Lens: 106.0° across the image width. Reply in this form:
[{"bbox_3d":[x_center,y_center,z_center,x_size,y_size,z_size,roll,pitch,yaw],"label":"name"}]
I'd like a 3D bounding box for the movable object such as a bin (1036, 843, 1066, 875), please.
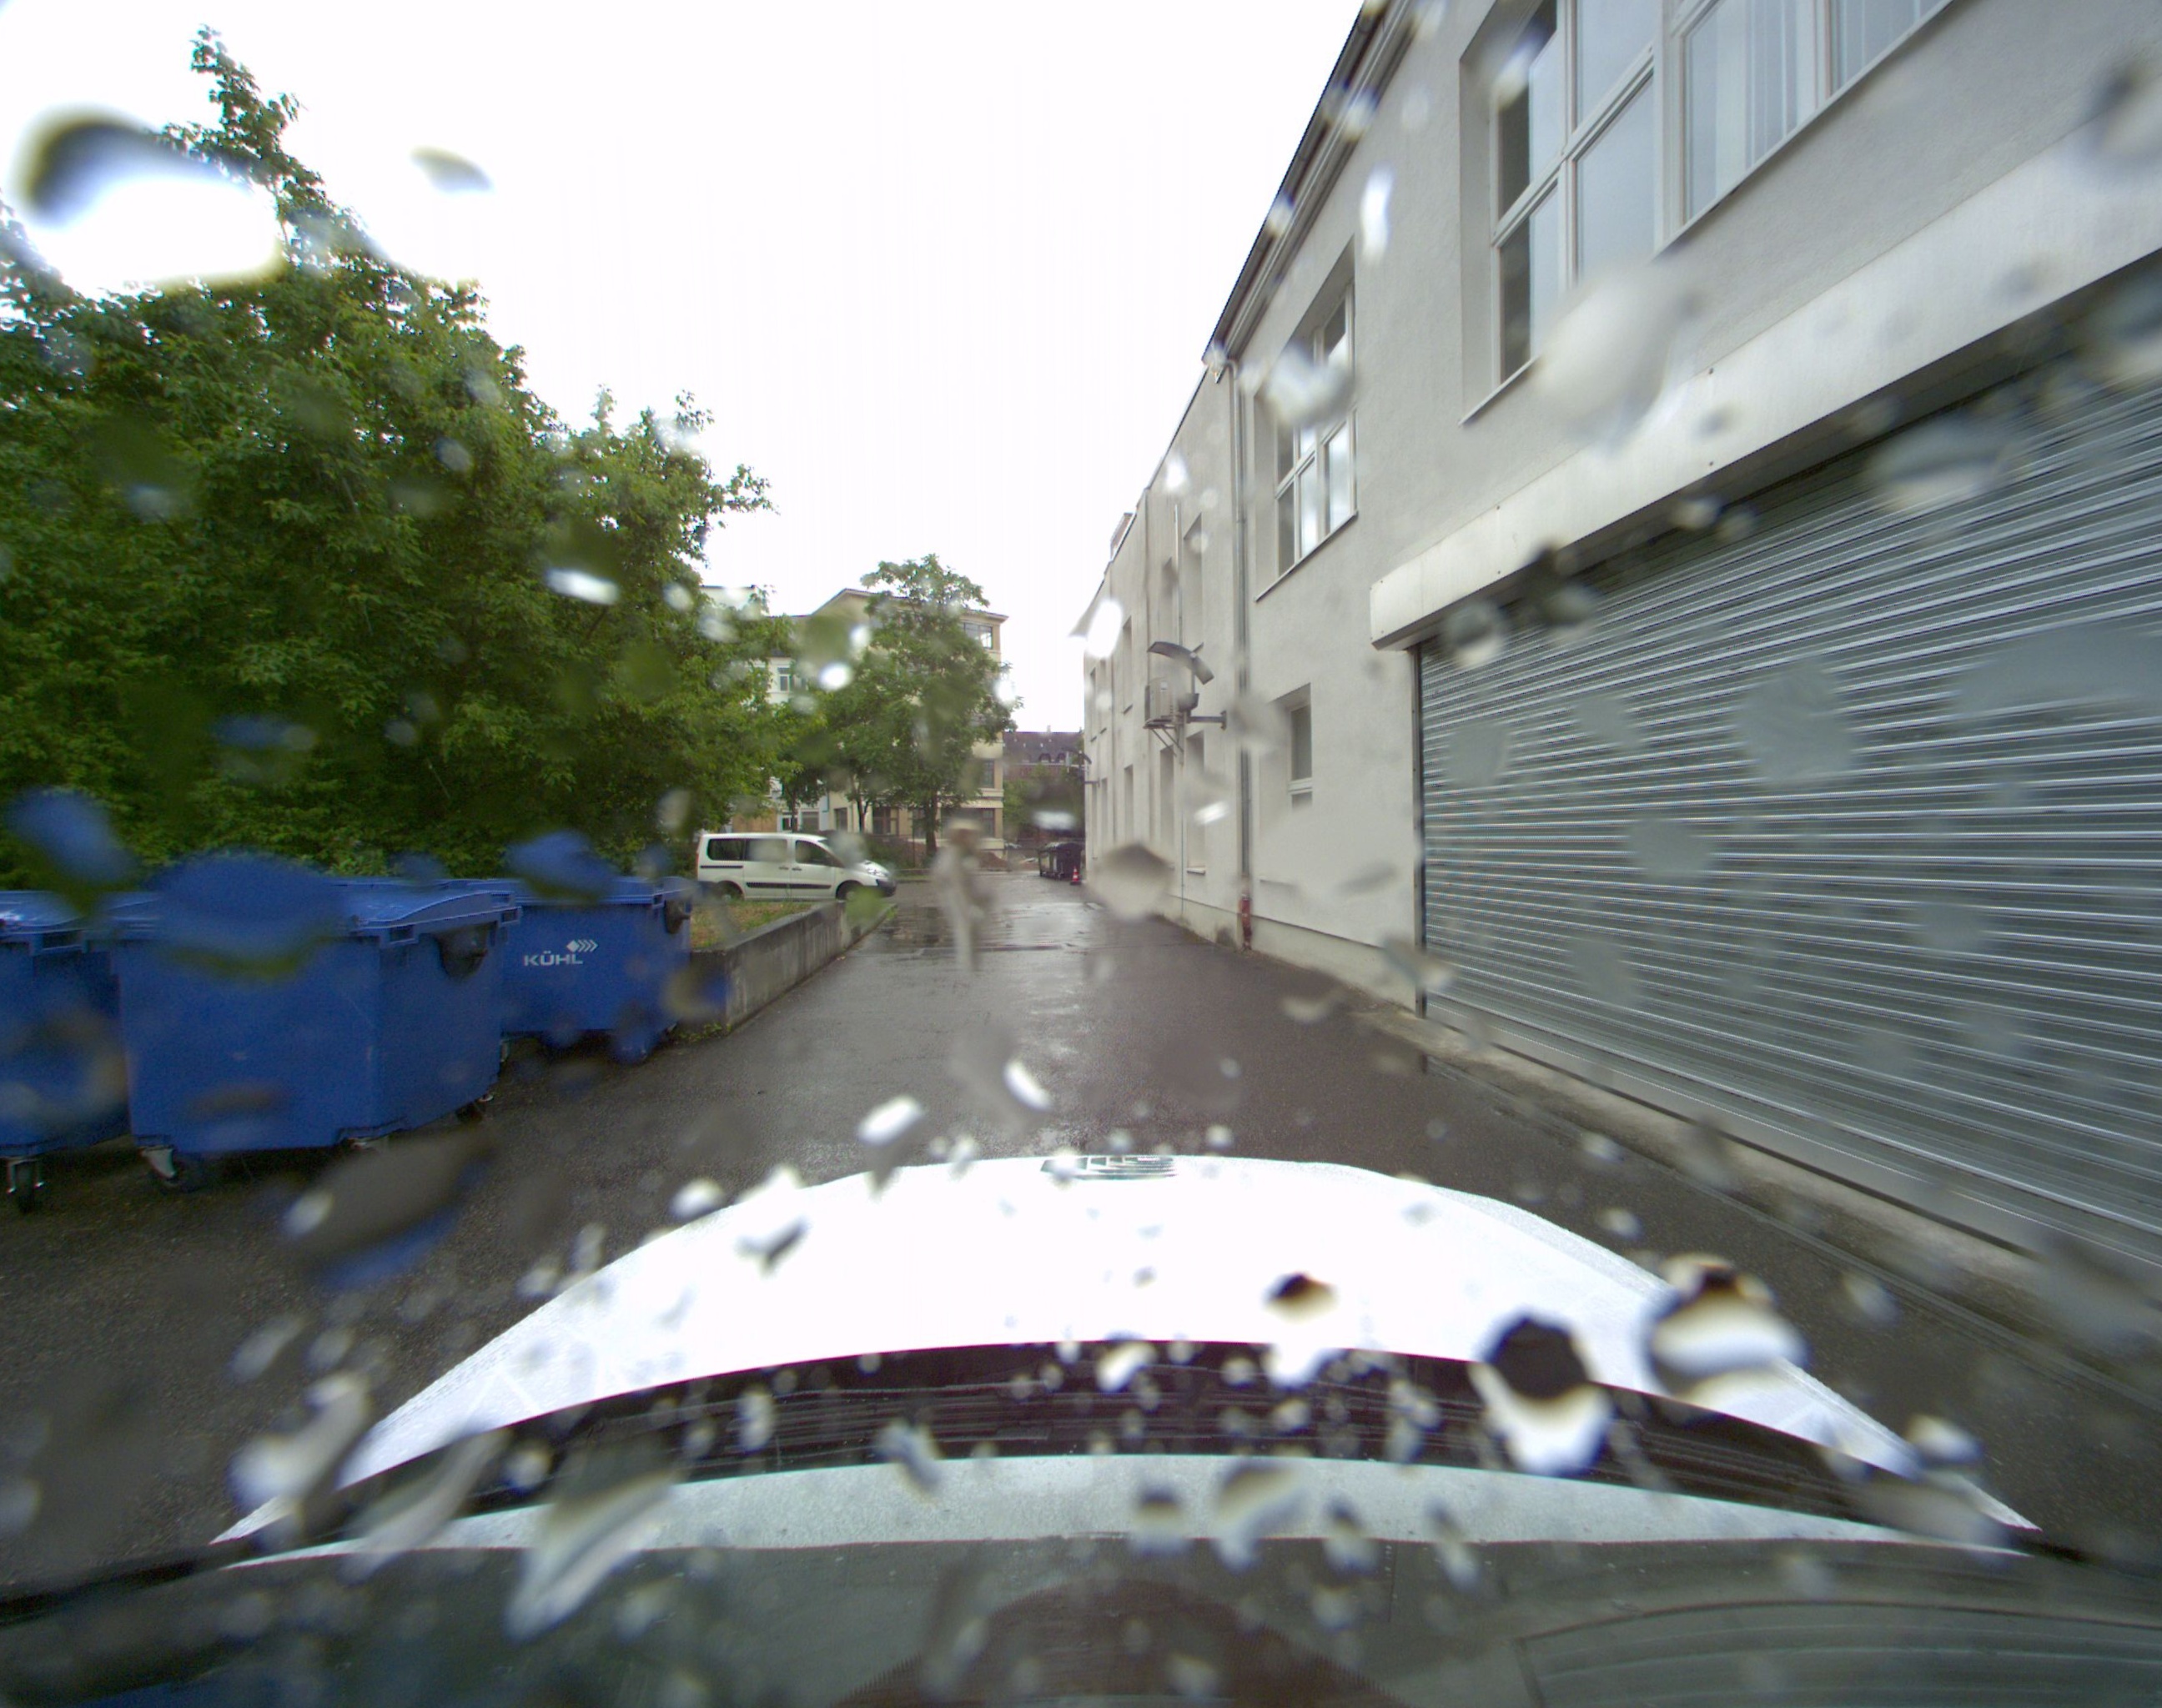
[{"bbox_3d":[-1.388,0.247,37.220,1.214,1.437,1.255,0,-1,-9],"label":"movable object such as a bin"}]

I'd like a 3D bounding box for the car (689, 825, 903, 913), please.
[{"bbox_3d":[-7.146,0.337,20.914,4.775,2.013,1.996,-2,1,-7],"label":"car"}]

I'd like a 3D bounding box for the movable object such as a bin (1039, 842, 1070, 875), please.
[{"bbox_3d":[-1.197,0.214,35.858,1.214,1.437,1.255,0,-1,-9],"label":"movable object such as a bin"}]

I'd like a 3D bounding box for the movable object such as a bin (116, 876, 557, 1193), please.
[{"bbox_3d":[-3.650,0.808,4.170,1.200,1.337,1.116,-1,0,-3],"label":"movable object such as a bin"}]

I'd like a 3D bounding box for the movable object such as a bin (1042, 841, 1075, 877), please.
[{"bbox_3d":[-0.968,0.216,34.504,1.214,1.468,1.232,0,-1,-9],"label":"movable object such as a bin"}]

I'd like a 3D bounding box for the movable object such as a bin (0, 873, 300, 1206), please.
[{"bbox_3d":[-4.958,0.808,3.971,1.201,1.336,1.114,1,2,-7],"label":"movable object such as a bin"}]

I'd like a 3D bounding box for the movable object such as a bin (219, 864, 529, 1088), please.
[{"bbox_3d":[-4.789,0.767,5.645,1.220,1.337,1.004,-1,2,-7],"label":"movable object such as a bin"}]

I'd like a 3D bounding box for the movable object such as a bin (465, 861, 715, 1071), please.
[{"bbox_3d":[-3.490,0.745,5.940,1.220,1.337,1.004,-1,1,-7],"label":"movable object such as a bin"}]

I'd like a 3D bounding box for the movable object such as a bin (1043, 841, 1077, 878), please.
[{"bbox_3d":[-0.856,0.219,32.874,1.214,1.437,1.290,-1,-1,-9],"label":"movable object such as a bin"}]

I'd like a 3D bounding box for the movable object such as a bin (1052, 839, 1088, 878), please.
[{"bbox_3d":[-0.446,0.189,31.229,1.214,1.437,1.232,0,-1,-9],"label":"movable object such as a bin"}]
